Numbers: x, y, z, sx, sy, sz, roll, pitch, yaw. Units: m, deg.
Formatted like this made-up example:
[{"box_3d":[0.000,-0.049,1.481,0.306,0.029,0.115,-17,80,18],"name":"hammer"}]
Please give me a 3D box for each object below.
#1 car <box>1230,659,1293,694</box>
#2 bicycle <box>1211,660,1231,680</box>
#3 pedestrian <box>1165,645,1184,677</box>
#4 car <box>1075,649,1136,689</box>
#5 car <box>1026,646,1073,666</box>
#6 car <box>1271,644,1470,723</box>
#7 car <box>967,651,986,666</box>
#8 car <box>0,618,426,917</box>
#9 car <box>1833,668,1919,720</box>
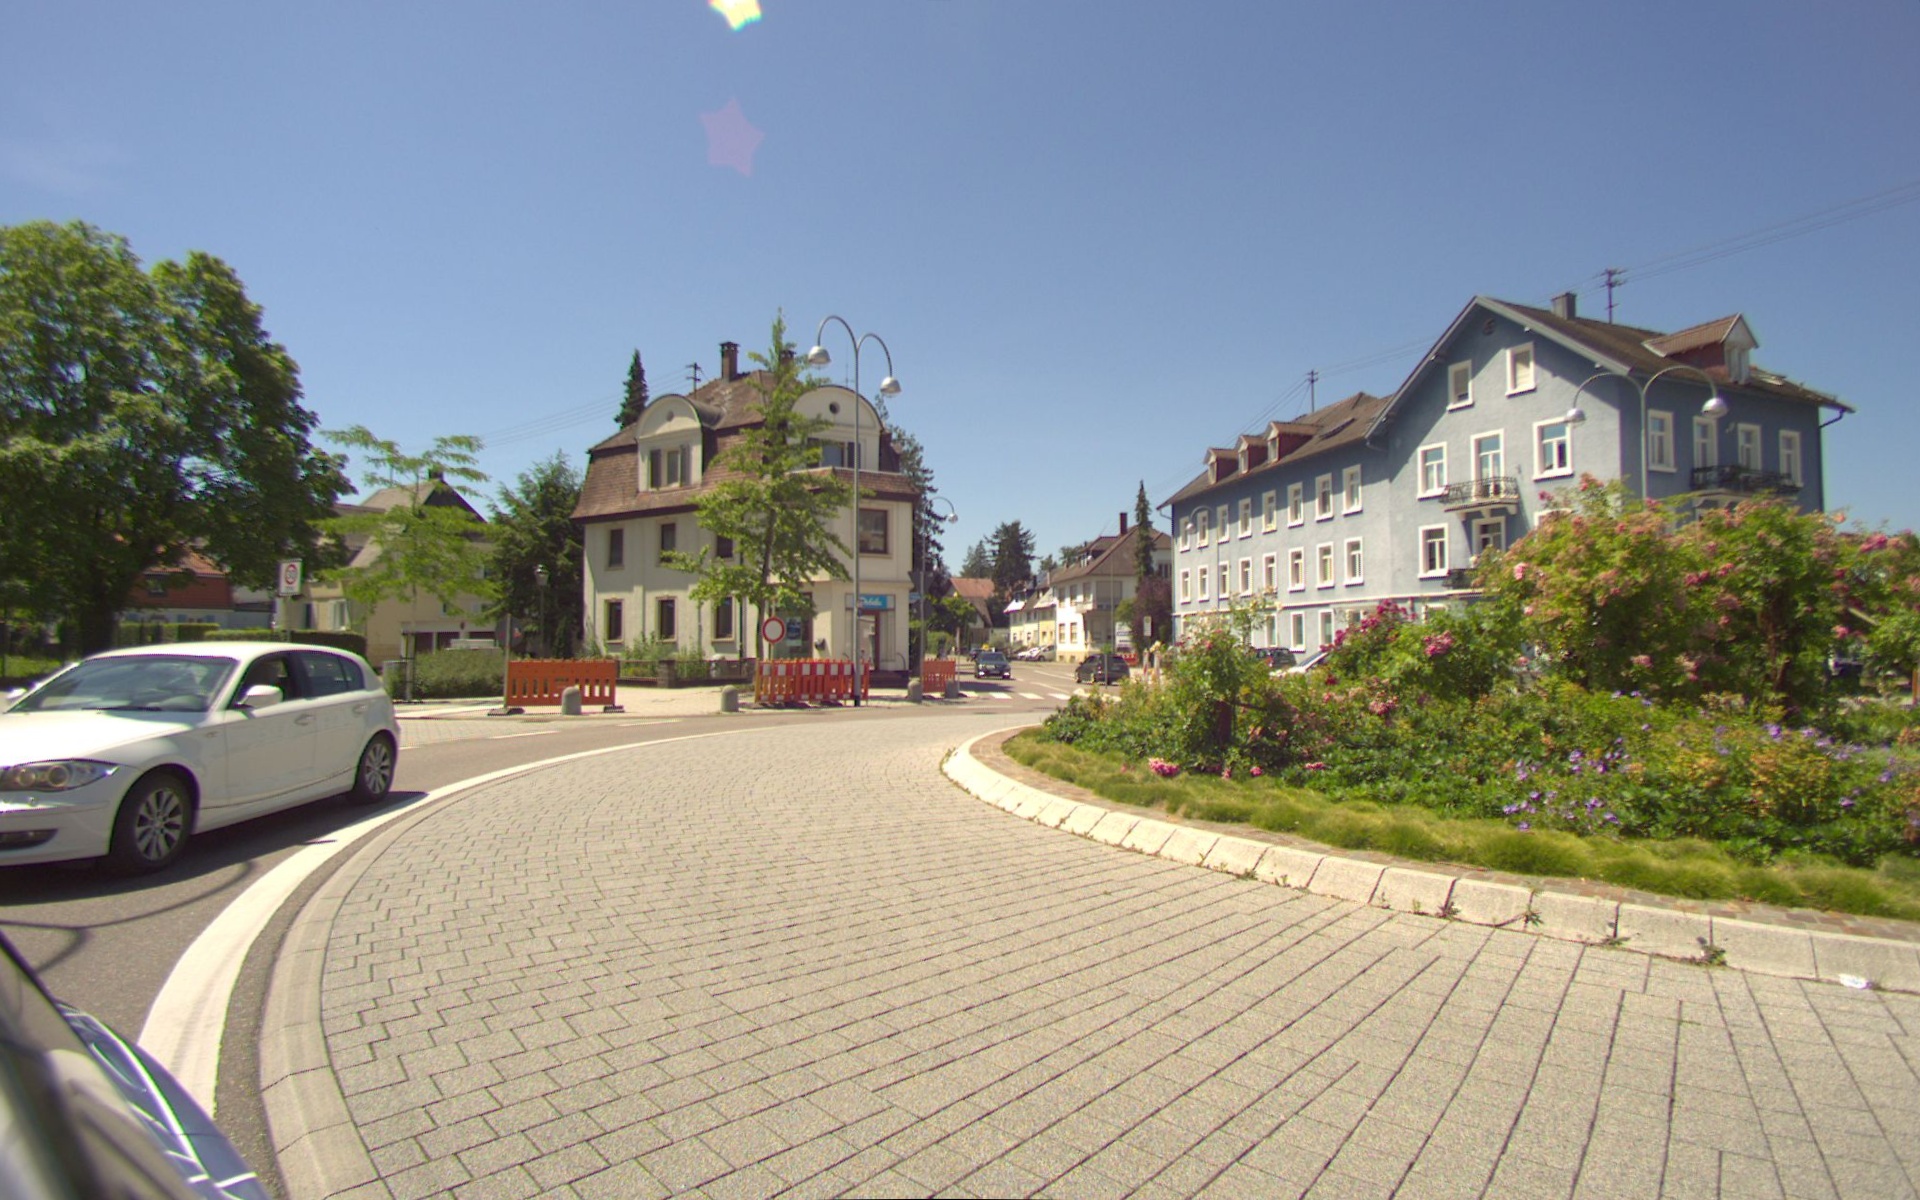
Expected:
[{"box_3d":[15.036,3.804,50.634,1.557,1.546,3.782,0,-1,-9],"name":"car"},{"box_3d":[14.110,3.757,54.725,0.491,0.985,1.972,-4,-2,1],"name":"bicycle"},{"box_3d":[12.540,3.570,59.236,0.746,1.862,0.773,-3,-3,-11],"name":"pedestrian"},{"box_3d":[6.675,3.210,47.004,1.753,1.791,4.249,0,-4,-7],"name":"car"},{"box_3d":[8.898,5.588,100.787,4.291,1.891,1.855,3,-4,-15],"name":"car"},{"box_3d":[9.750,1.969,24.397,4.204,1.791,1.773,-1,-3,15],"name":"car"},{"box_3d":[1.771,6.331,109.421,1.645,1.463,4.015,3,-1,7],"name":"car"},{"box_3d":[-5.806,0.993,7.402,1.761,1.562,4.132,-4,-1,-4],"name":"car"},{"box_3d":[30.831,2.957,31.928,1.965,1.522,4.499,0,-3,-27],"name":"car"}]
